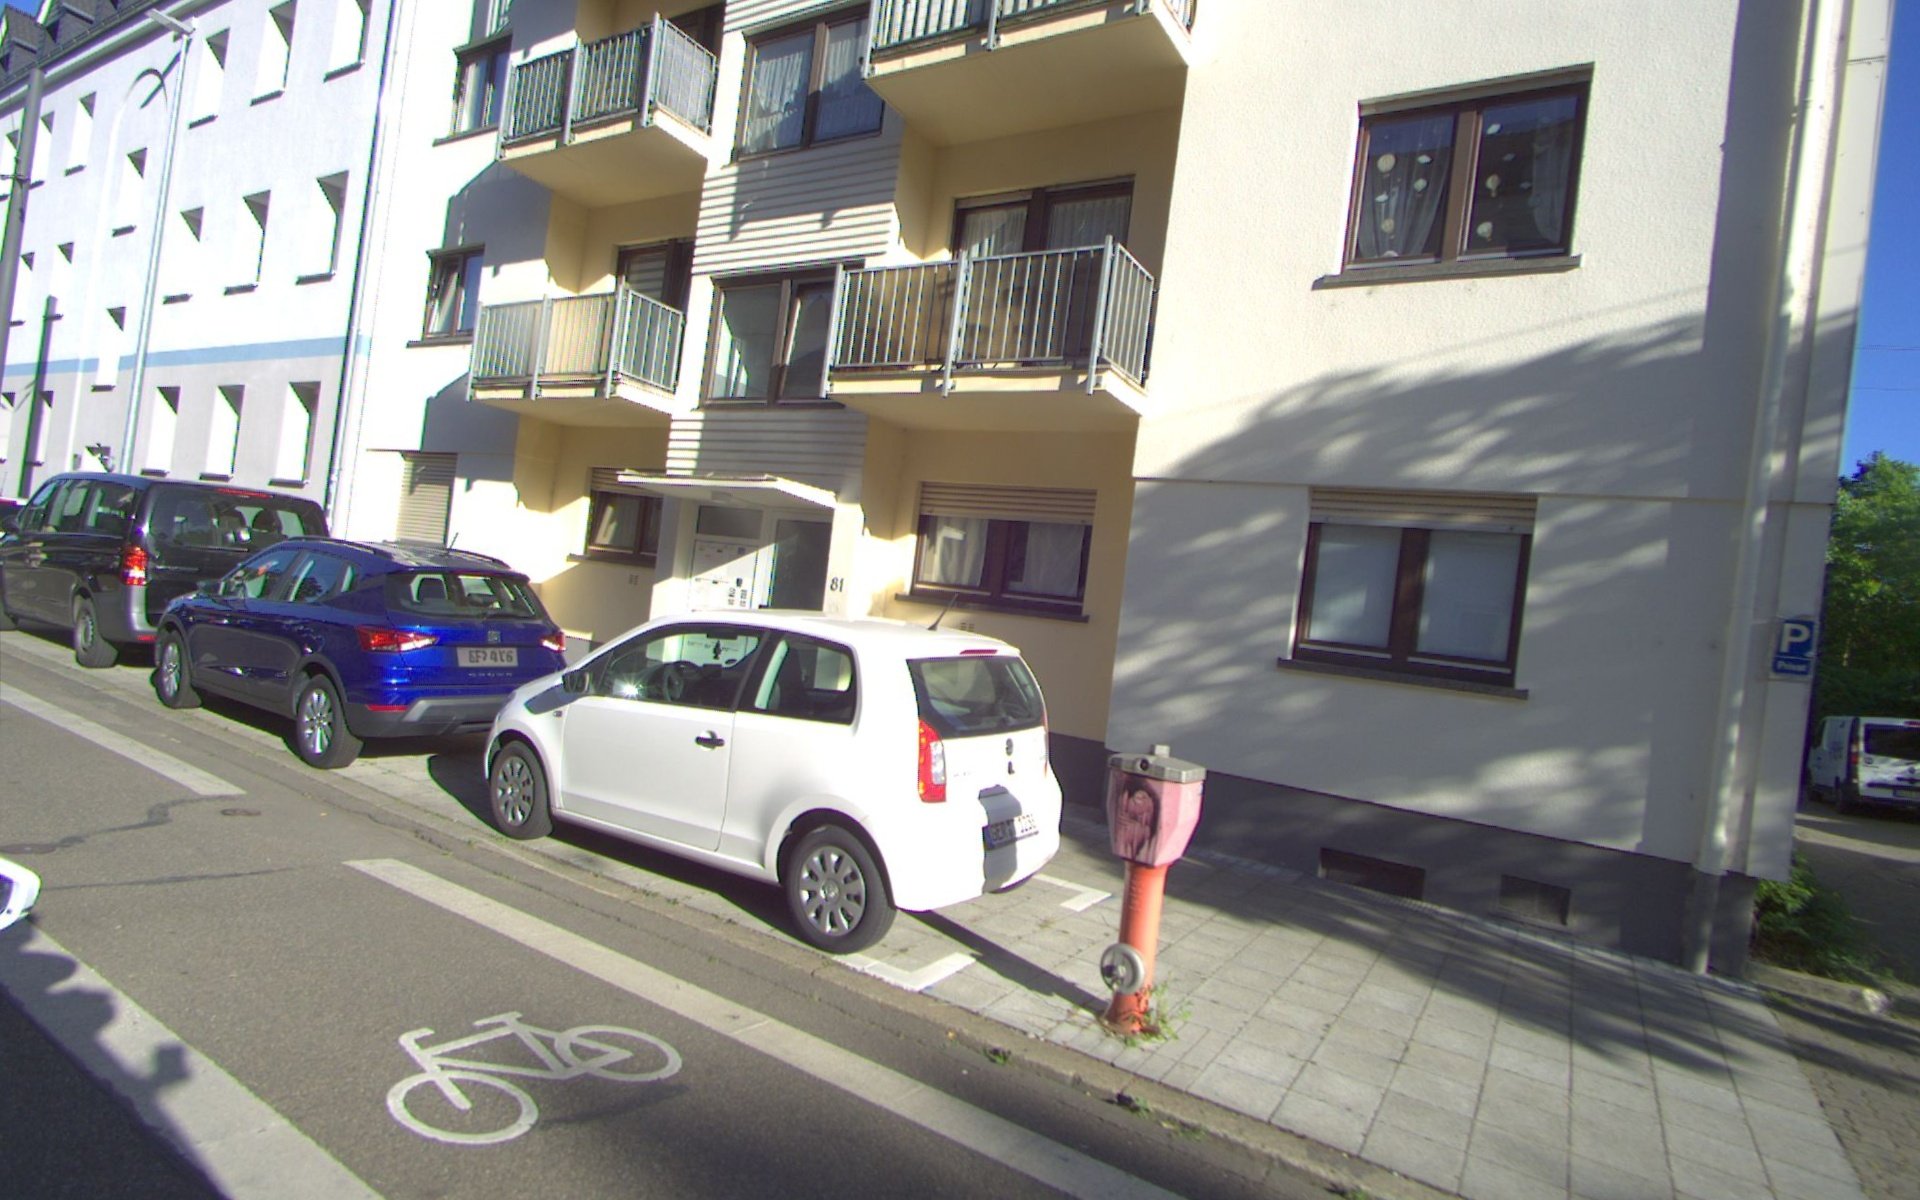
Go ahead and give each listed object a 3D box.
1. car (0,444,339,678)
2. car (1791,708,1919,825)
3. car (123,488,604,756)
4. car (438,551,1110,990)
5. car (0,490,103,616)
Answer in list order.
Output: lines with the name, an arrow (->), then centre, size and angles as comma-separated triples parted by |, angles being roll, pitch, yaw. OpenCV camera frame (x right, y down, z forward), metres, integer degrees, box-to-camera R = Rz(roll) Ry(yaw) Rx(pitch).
car -> -8.934, -0.487, 10.939 | 4.587, 1.966, 1.659 | 7, -2, 32
car -> 18.964, 3.412, 20.639 | 1.966, 2.005, 4.829 | 7, -3, 30
car -> -4.936, 0.124, 8.209 | 3.812, 1.589, 1.659 | 7, -2, 32
car -> -1.141, 0.759, 5.819 | 3.441, 1.589, 1.659 | 7, -2, 32
car -> -13.498, -0.780, 13.808 | 3.078, 1.517, 1.659 | 7, -2, 32
